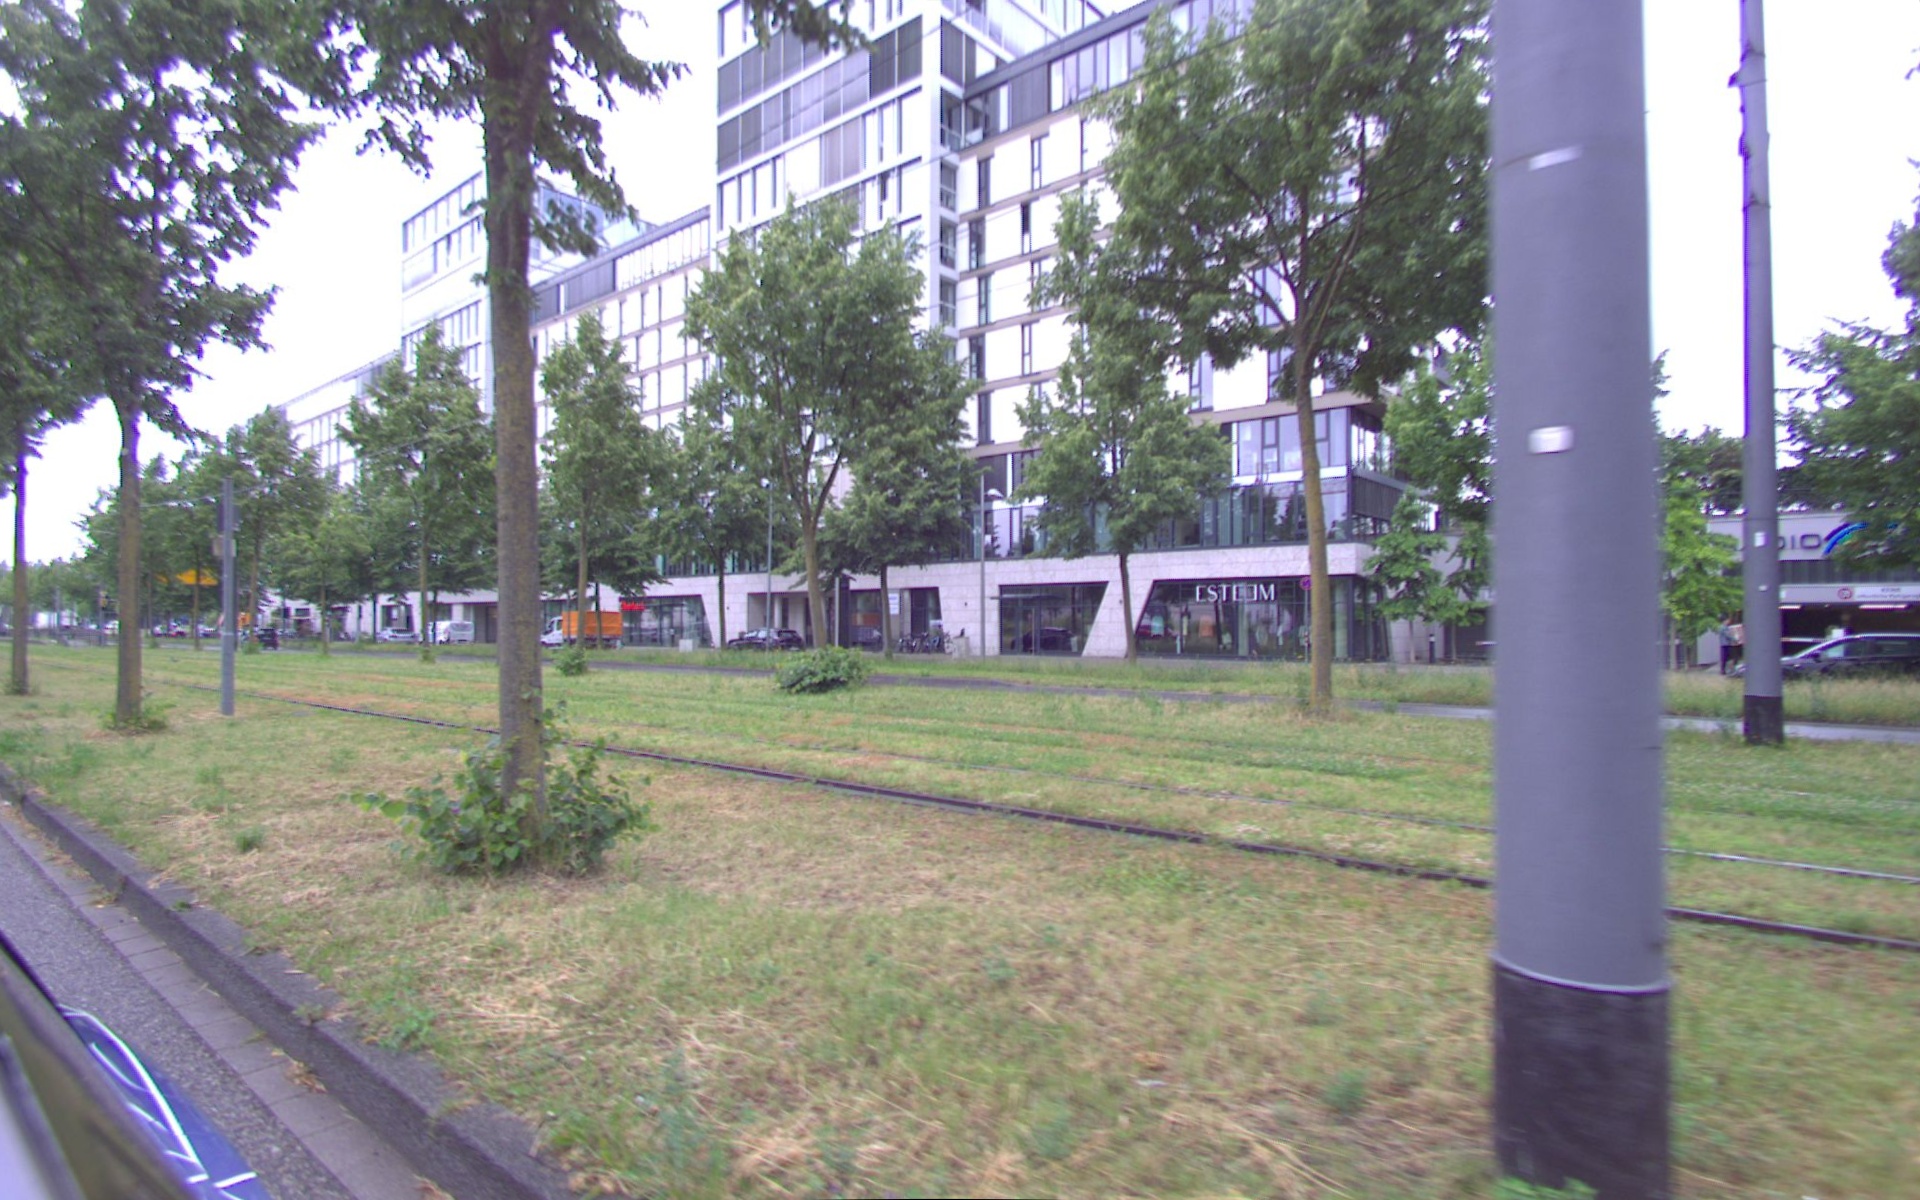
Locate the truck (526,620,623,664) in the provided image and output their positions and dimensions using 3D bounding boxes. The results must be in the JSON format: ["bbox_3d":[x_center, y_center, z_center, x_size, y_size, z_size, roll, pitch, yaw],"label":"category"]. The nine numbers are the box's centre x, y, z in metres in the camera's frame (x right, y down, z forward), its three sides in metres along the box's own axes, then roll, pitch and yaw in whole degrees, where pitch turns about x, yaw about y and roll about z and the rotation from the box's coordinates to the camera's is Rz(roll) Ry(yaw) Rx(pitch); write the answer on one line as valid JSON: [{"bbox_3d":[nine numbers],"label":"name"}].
[{"bbox_3d":[-21.630,2.321,56.687,6.305,2.309,2.401,-2,-2,41],"label":"truck"}]

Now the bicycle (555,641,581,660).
[{"bbox_3d":[-20.323,2.626,52.453,1.758,0.952,0.592,-2,-3,45],"label":"bicycle"}]

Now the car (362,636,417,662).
[{"bbox_3d":[-41.067,3.502,72.815,4.461,1.725,2.122,-2,-2,41],"label":"car"}]

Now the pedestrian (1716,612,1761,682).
[{"bbox_3d":[22.591,1.356,29.359,0.784,1.996,0.857,1,-2,-41],"label":"pedestrian"}]

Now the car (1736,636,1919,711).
[{"bbox_3d":[18.418,1.452,20.620,3.998,1.389,1.973,-2,-2,41],"label":"car"}]

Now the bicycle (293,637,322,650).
[{"bbox_3d":[-54.164,3.581,84.040,0.696,1.042,1.957,-2,-2,42],"label":"bicycle"}]

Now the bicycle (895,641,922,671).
[{"bbox_3d":[-2.599,2.847,51.445,0.546,1.494,1.417,-2,-2,40],"label":"bicycle"}]

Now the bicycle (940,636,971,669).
[{"bbox_3d":[-0.216,2.544,49.590,0.606,1.550,1.552,-2,-2,40],"label":"bicycle"}]

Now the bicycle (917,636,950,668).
[{"bbox_3d":[-1.298,2.575,50.187,0.680,1.550,1.686,-2,-2,40],"label":"bicycle"}]

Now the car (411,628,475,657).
[{"bbox_3d":[-34.504,2.820,67.459,5.160,1.866,1.973,-2,-2,40],"label":"car"}]

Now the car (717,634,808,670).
[{"bbox_3d":[-8.657,2.231,44.235,3.986,1.476,1.836,-2,-2,41],"label":"car"}]

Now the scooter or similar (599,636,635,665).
[{"bbox_3d":[-22.303,3.263,65.799,0.883,1.839,2.105,-2,-2,37],"label":"scooter or similar"}]

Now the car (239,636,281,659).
[{"bbox_3d":[-52.207,3.539,75.451,3.701,1.669,1.971,-2,-3,45],"label":"car"}]
